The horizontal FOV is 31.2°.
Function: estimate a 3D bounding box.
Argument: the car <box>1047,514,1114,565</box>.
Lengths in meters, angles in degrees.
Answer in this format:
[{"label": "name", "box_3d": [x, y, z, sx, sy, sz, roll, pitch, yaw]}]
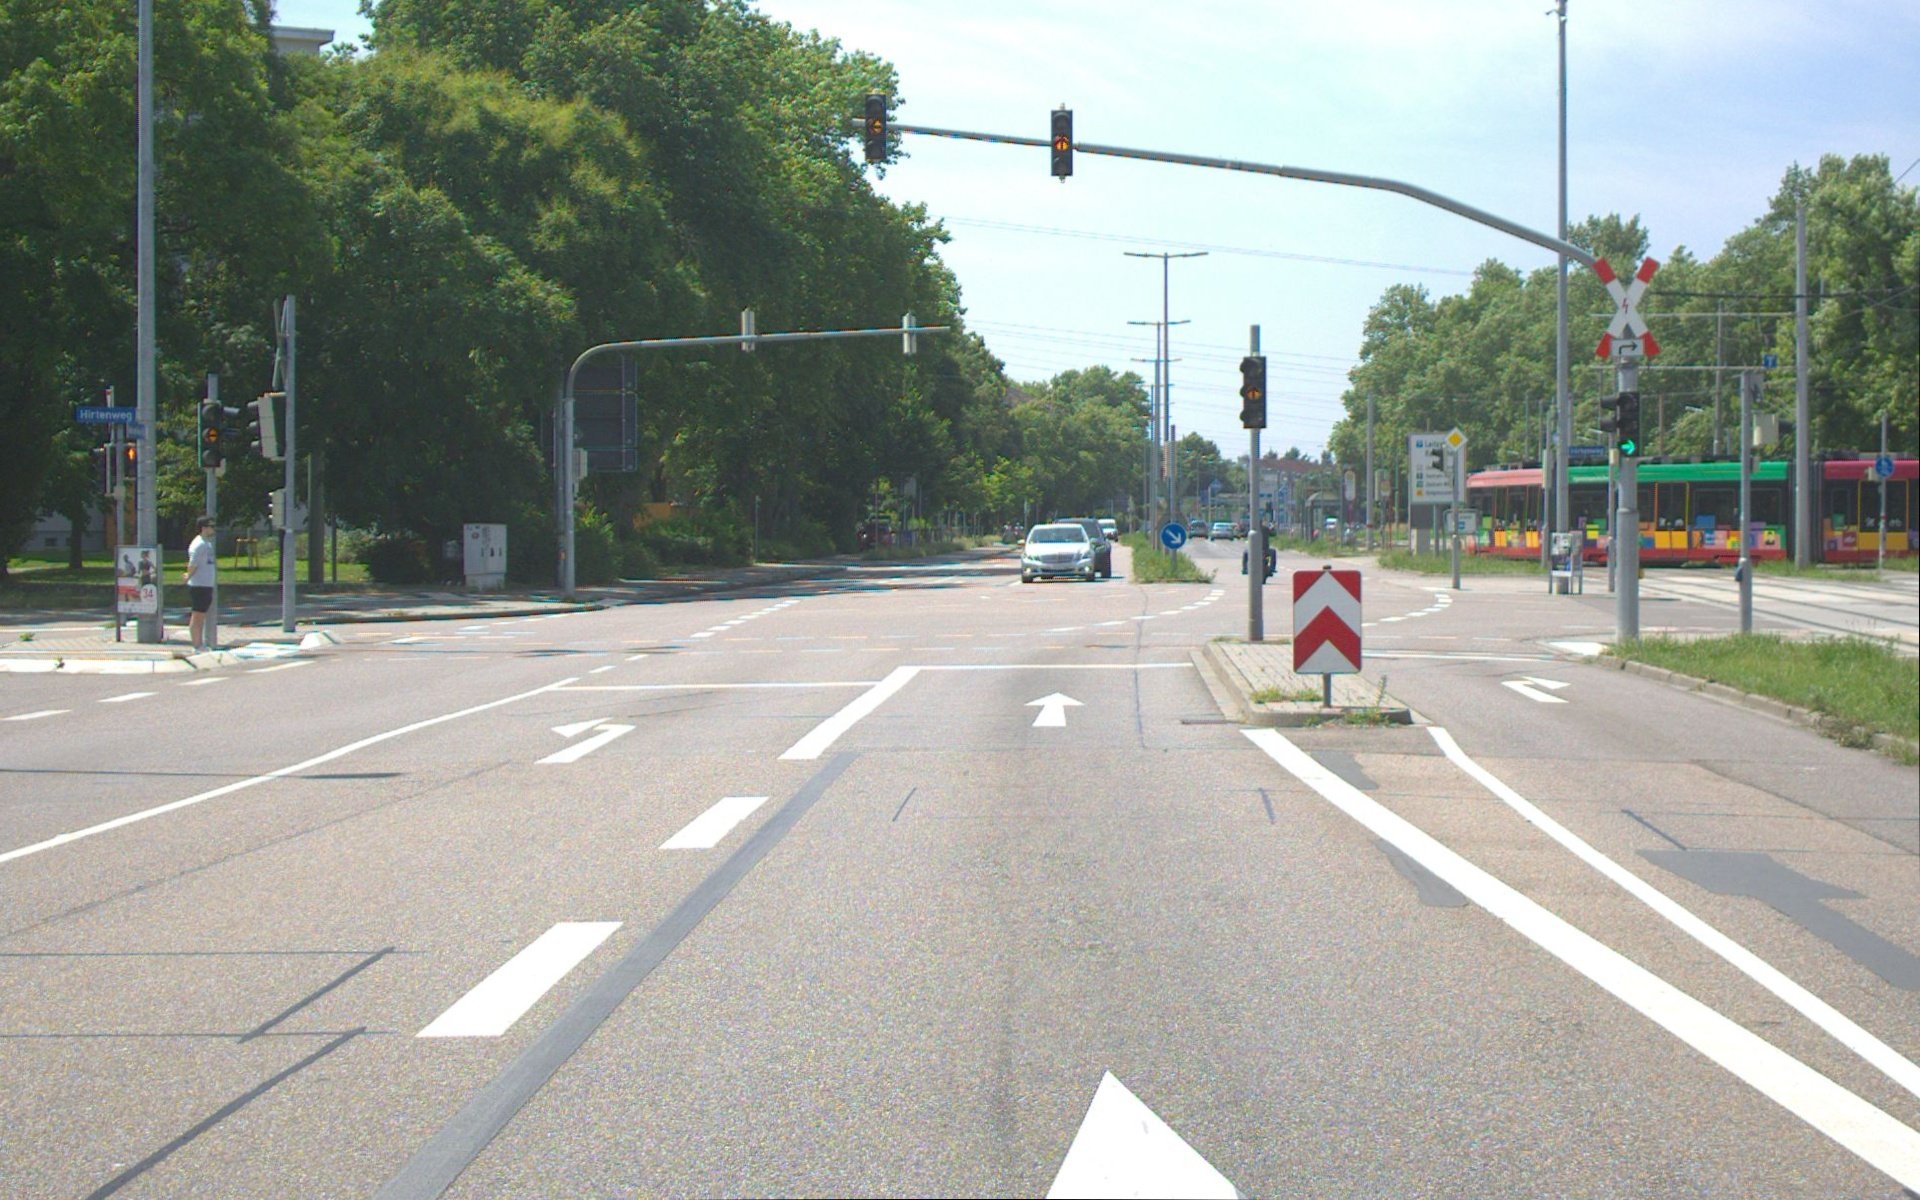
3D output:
[{"label": "car", "box_3d": [3.326, -1.677, 94.114, 1.711, 1.361, 3.865, 0, 1, 4]}]

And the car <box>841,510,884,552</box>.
[{"label": "car", "box_3d": [-5.047, -3.562, 177.938, 1.993, 2.007, 4.000, 3, 1, 0]}]

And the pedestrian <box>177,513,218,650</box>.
[{"label": "pedestrian", "box_3d": [-9.380, -0.233, 42.297, 0.382, 1.681, 0.486, 0, 1, 0]}]

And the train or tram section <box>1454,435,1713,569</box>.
[{"label": "train or tram section", "box_3d": [20.588, -3.134, 114.685, 2.913, 3.799, 13.078, 2, -1, -16]}]

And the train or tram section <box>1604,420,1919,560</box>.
[{"label": "train or tram section", "box_3d": [25.841, -3.260, 104.554, 2.915, 3.799, 13.451, 2, -2, -40]}]

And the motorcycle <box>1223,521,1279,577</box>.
[{"label": "motorcycle", "box_3d": [6.709, -1.174, 79.200, 0.847, 1.251, 2.447, 1, 1, 15]}]

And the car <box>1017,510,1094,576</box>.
[{"label": "car", "box_3d": [2.419, -1.449, 86.446, 1.784, 1.623, 3.865, 0, 1, 4]}]

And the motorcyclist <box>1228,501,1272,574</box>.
[{"label": "motorcyclist", "box_3d": [6.671, -1.438, 79.041, 0.790, 1.637, 1.210, 1, 1, 15]}]
